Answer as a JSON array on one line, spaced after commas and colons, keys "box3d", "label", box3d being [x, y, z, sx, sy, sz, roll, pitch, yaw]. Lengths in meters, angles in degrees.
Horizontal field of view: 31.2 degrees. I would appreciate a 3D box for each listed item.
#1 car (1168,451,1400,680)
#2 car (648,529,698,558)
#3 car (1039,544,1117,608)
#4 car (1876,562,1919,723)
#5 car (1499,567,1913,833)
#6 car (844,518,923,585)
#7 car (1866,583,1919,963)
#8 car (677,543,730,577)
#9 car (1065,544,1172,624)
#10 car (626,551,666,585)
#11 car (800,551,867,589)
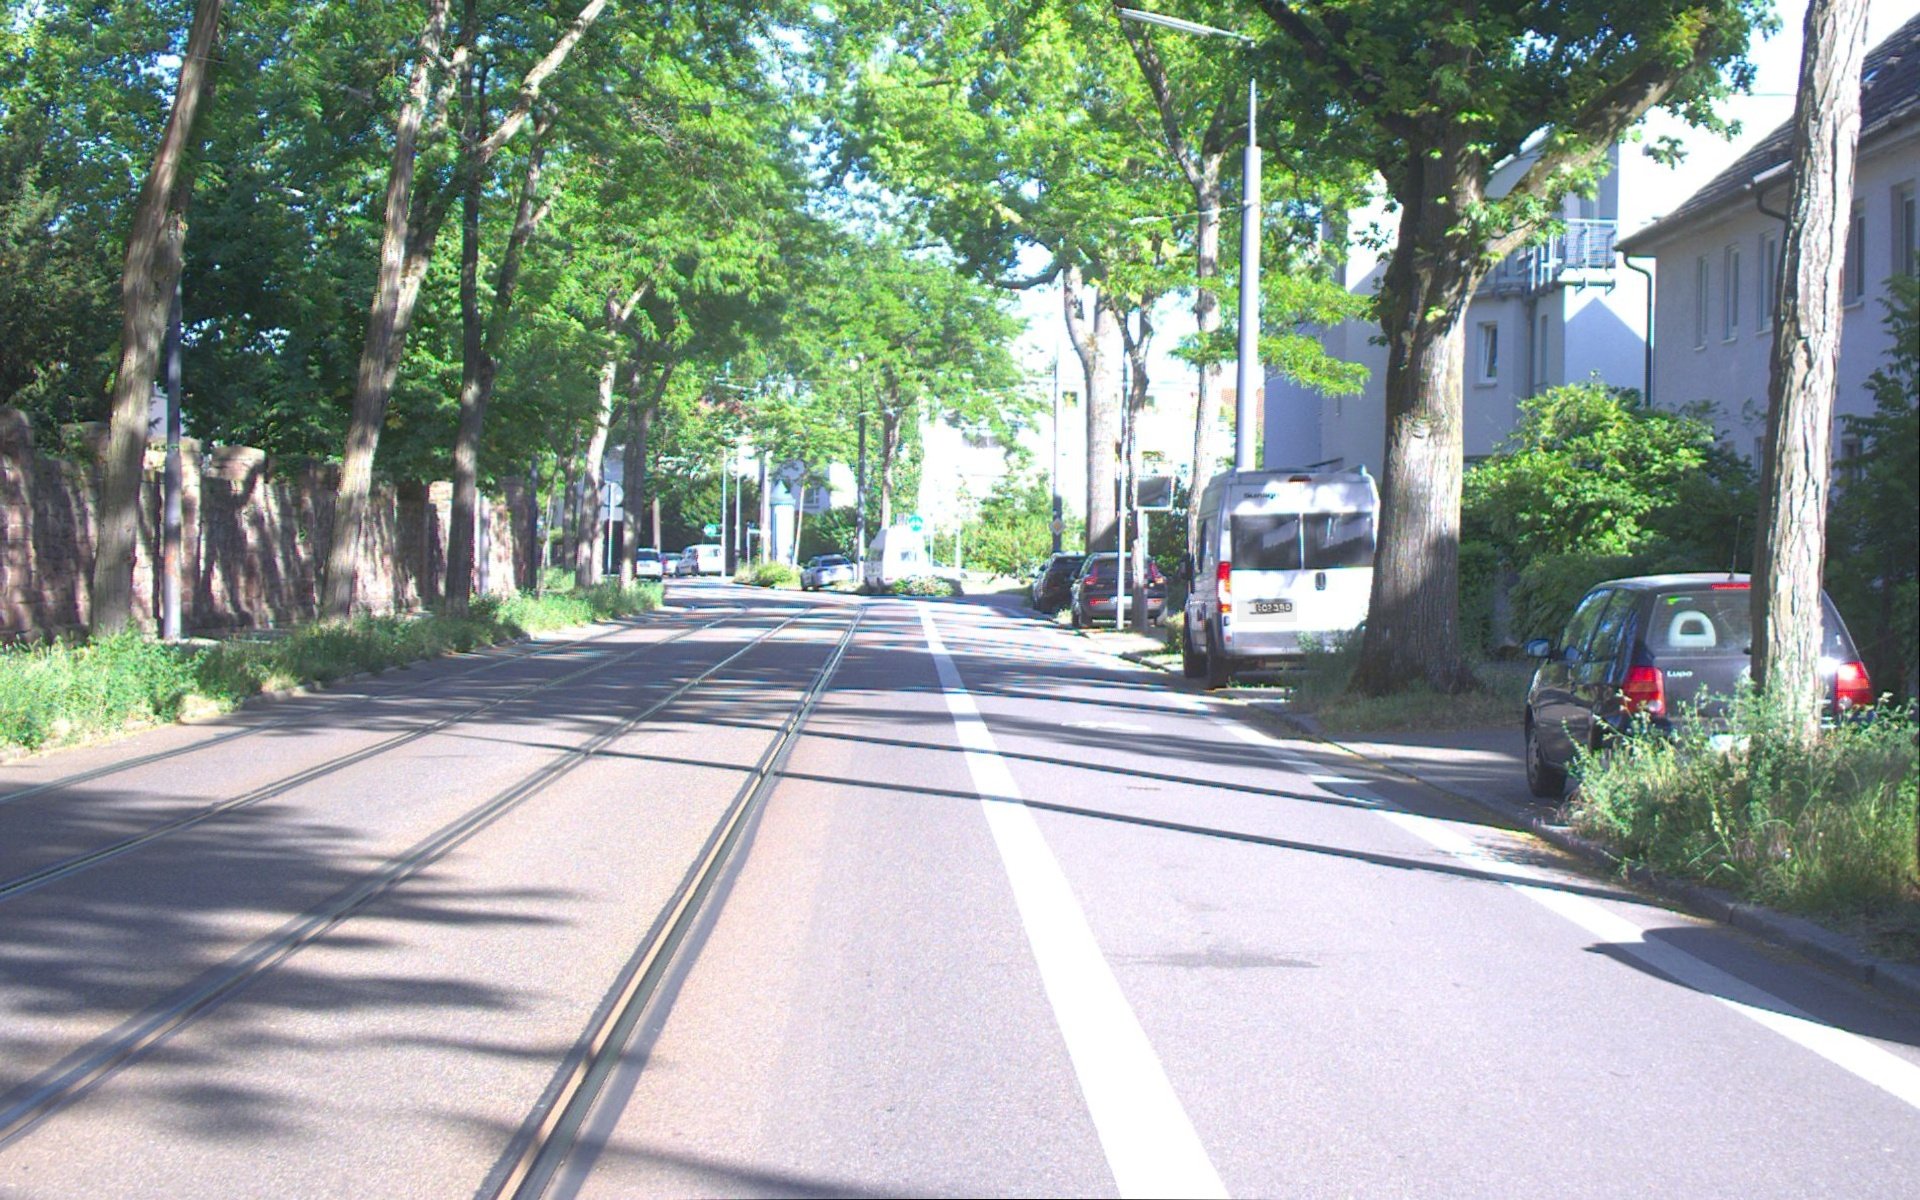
[{"box3d": [3.939, -0.439, 42.782, 2.245, 2.645, 5.586, -1, 1, -1], "label": "car"}, {"box3d": [-16.843, -3.297, 201.580, 2.002, 1.669, 4.174, -1, 1, -18], "label": "car"}, {"box3d": [3.187, -0.663, 92.272, 2.003, 1.669, 4.392, -1, 1, 3], "label": "car"}, {"box3d": [10.234, 0.360, 30.998, 3.396, 1.431, 1.735, -1, 1, -14], "label": "car"}, {"box3d": [4.443, 0.537, 20.963, 1.627, 1.393, 3.646, -2, 1, -1], "label": "car"}, {"box3d": [-2.882, -1.813, 128.089, 1.993, 2.450, 4.510, 0, 1, -14], "label": "car"}, {"box3d": [4.621, 0.674, 11.610, 1.784, 1.443, 4.301, -2, 1, -3], "label": "car"}, {"box3d": [-14.628, -2.297, 195.832, 2.002, 1.903, 4.393, -1, 1, -18], "label": "car"}, {"box3d": [3.405, -0.373, 74.698, 2.003, 1.669, 4.392, -1, 1, -1], "label": "car"}, {"box3d": [-15.579, -1.586, 170.572, 1.865, 1.669, 4.174, 1, 1, -4], "label": "car"}, {"box3d": [-5.398, -1.283, 145.988, 2.002, 1.555, 4.394, 0, 1, -13], "label": "car"}]
